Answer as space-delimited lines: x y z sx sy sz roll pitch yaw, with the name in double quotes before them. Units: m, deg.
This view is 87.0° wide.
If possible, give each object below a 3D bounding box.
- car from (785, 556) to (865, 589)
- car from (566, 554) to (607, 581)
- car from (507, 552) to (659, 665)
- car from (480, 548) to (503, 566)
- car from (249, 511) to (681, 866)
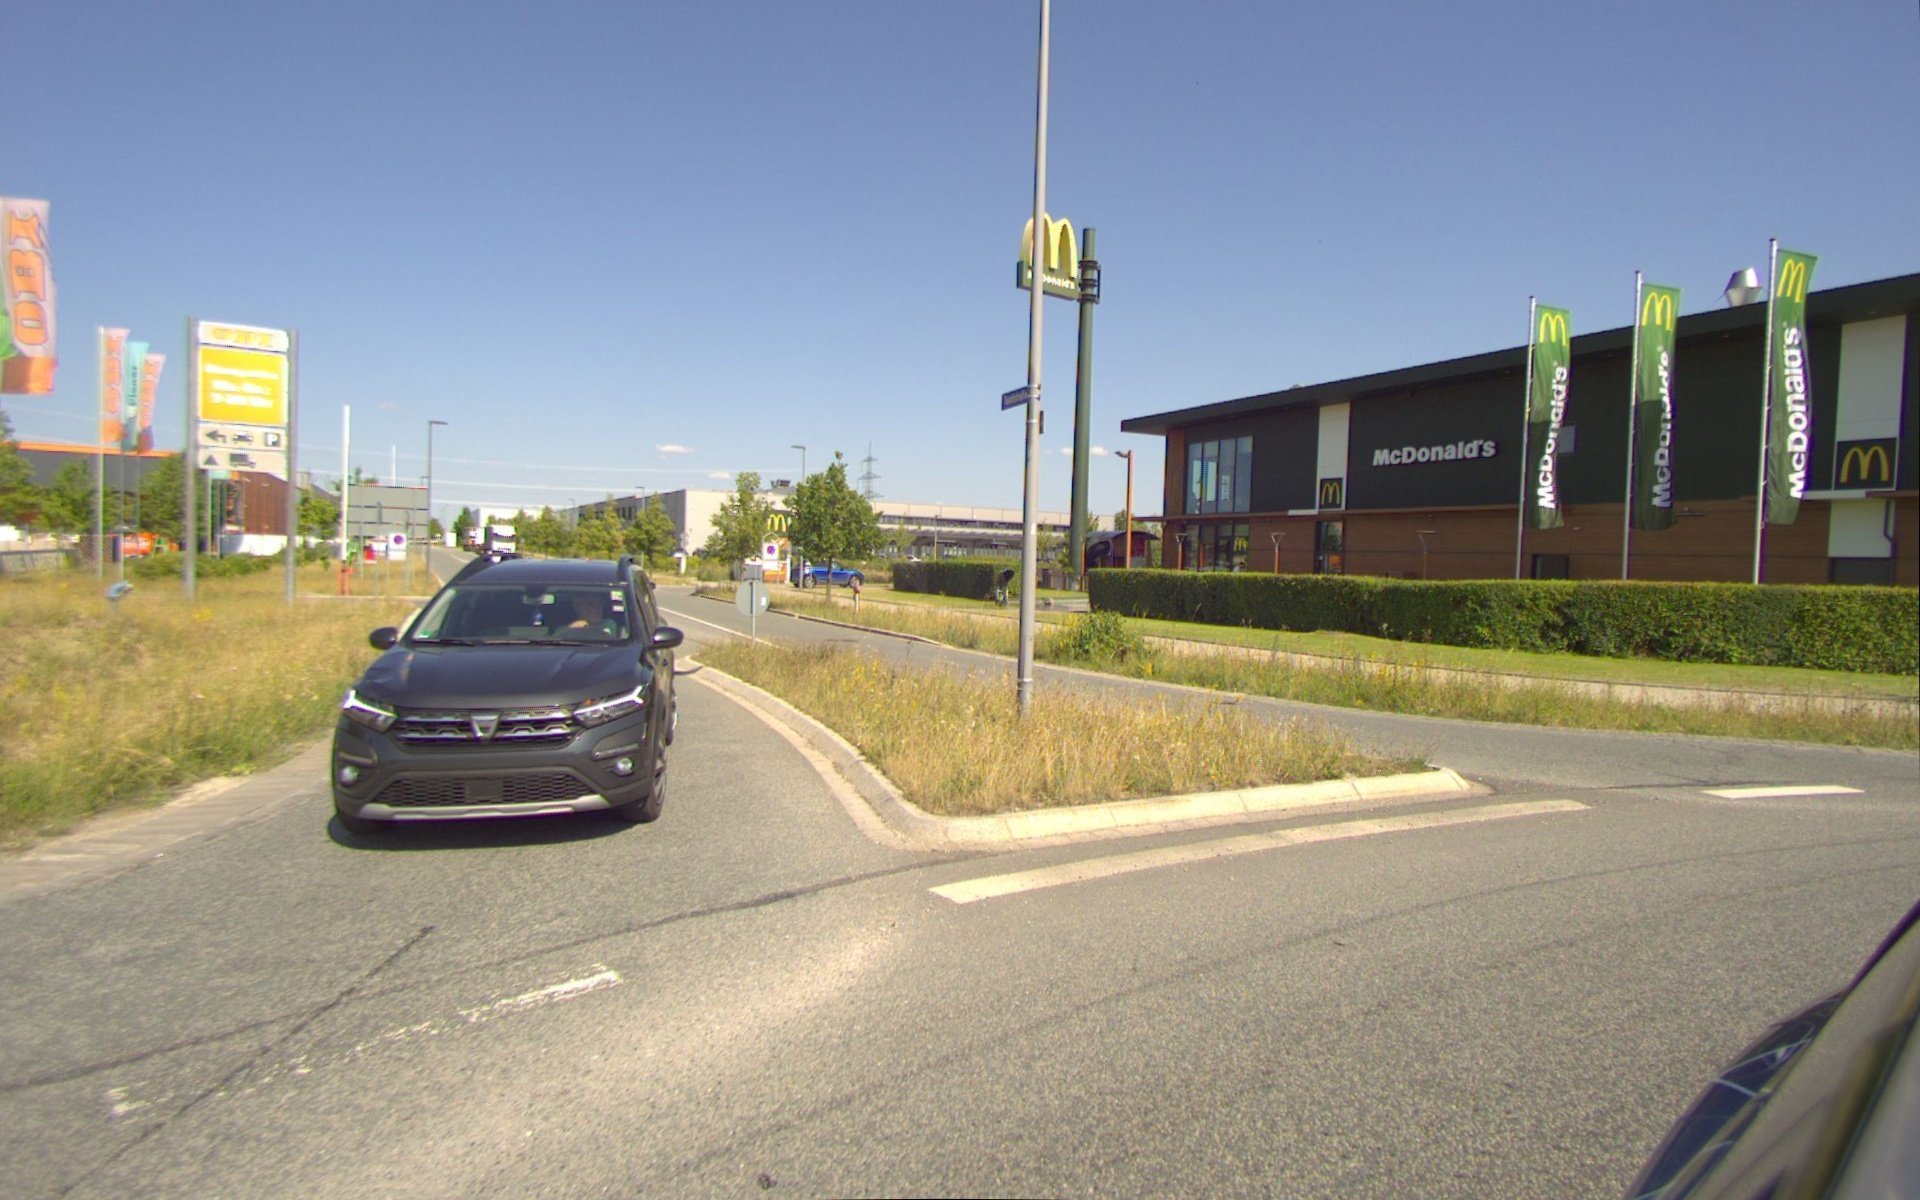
"car" -7.511 -1.520 56.257 3.995 1.656 1.861 2 1 -25
"car" -22.556 -1.977 61.036 1.771 1.433 4.125 2 2 -27
"car" -6.622 0.008 17.446 2.036 1.646 4.707 -1 3 -26
"car" -40.556 -3.734 87.615 1.484 1.458 3.355 0 3 -30
"car" -3.098 0.394 7.411 1.916 1.727 4.637 1 1 -14
